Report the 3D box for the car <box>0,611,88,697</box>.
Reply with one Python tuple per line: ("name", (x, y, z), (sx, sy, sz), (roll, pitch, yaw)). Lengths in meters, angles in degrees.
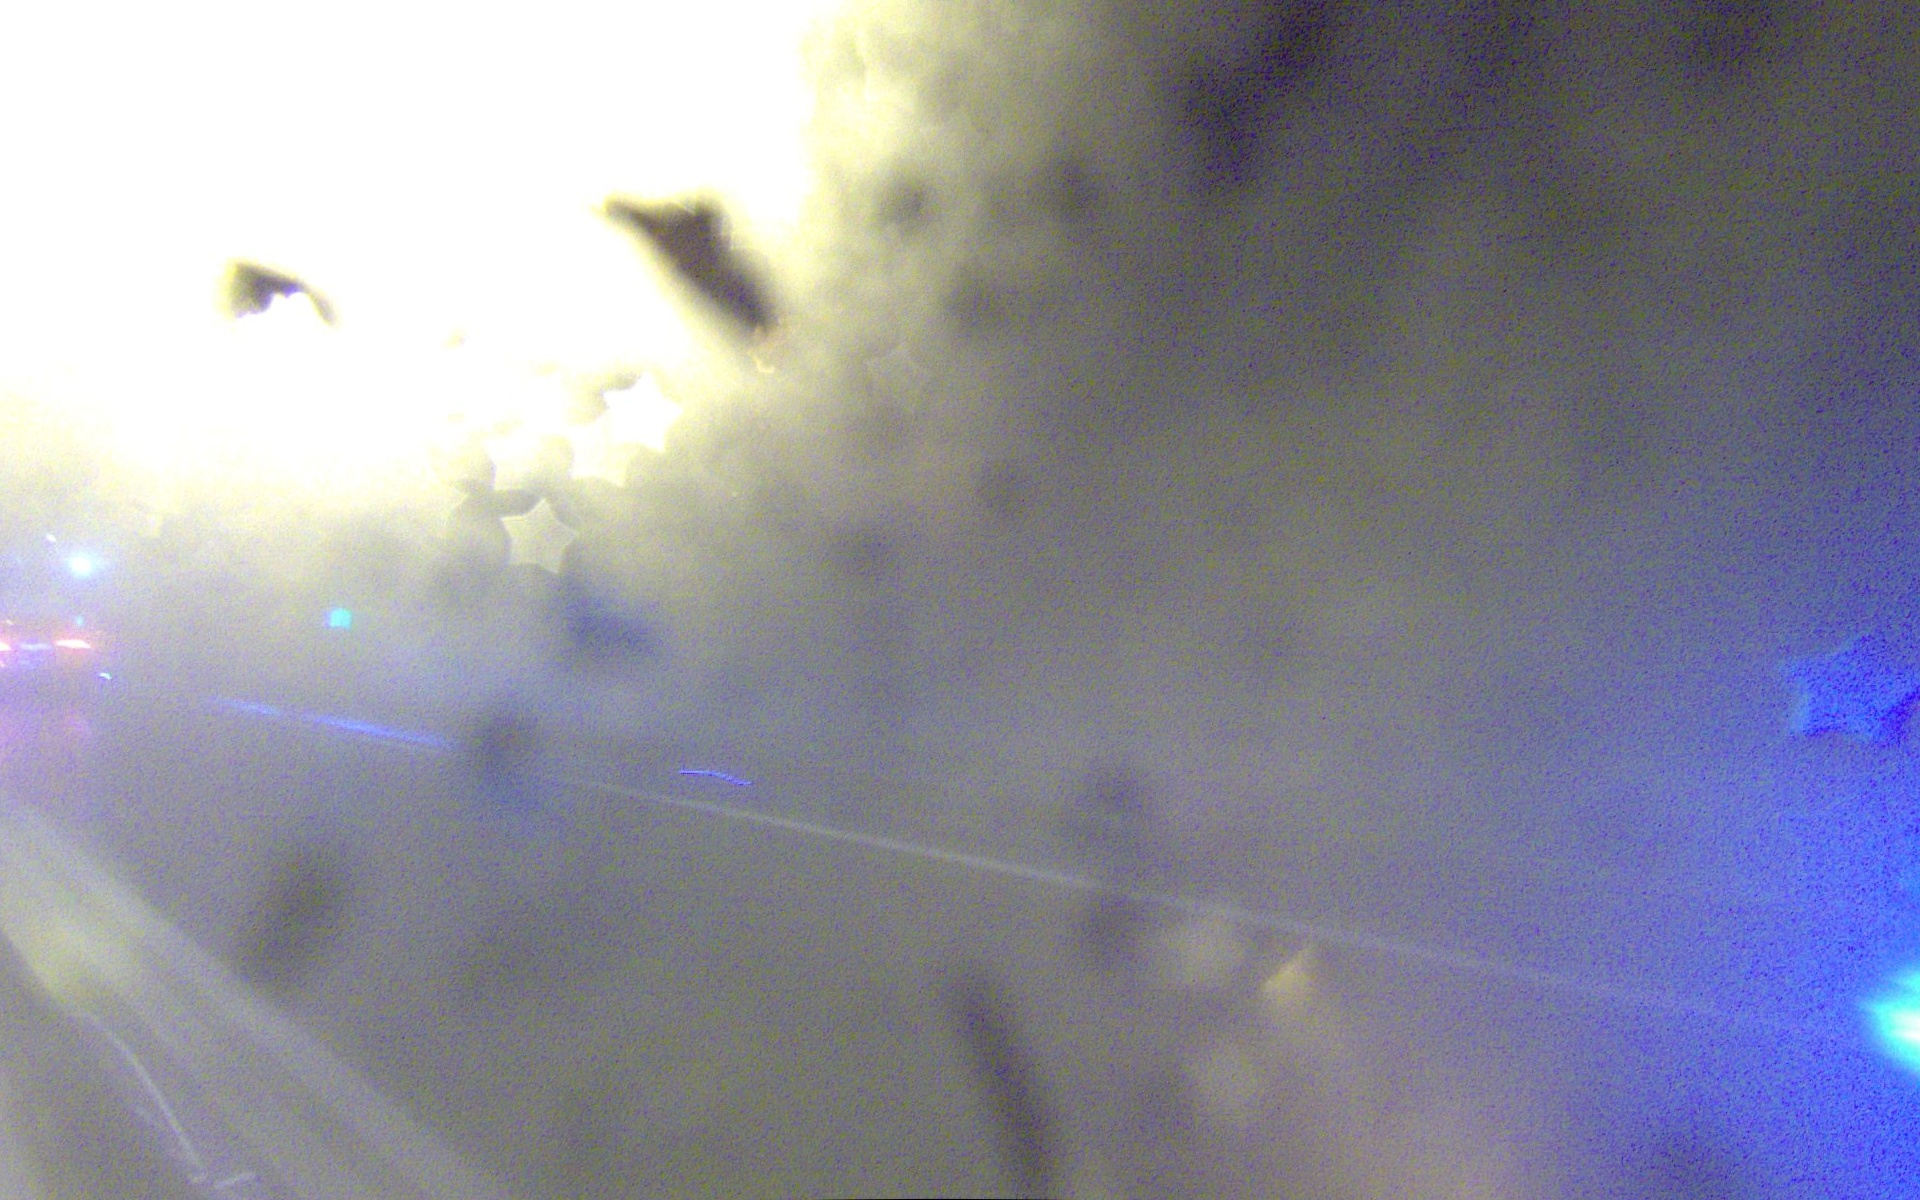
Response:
("car", (-19.712, 1.071, 21.215), (4.143, 1.640, 1.618), (-1, -1, 41))
